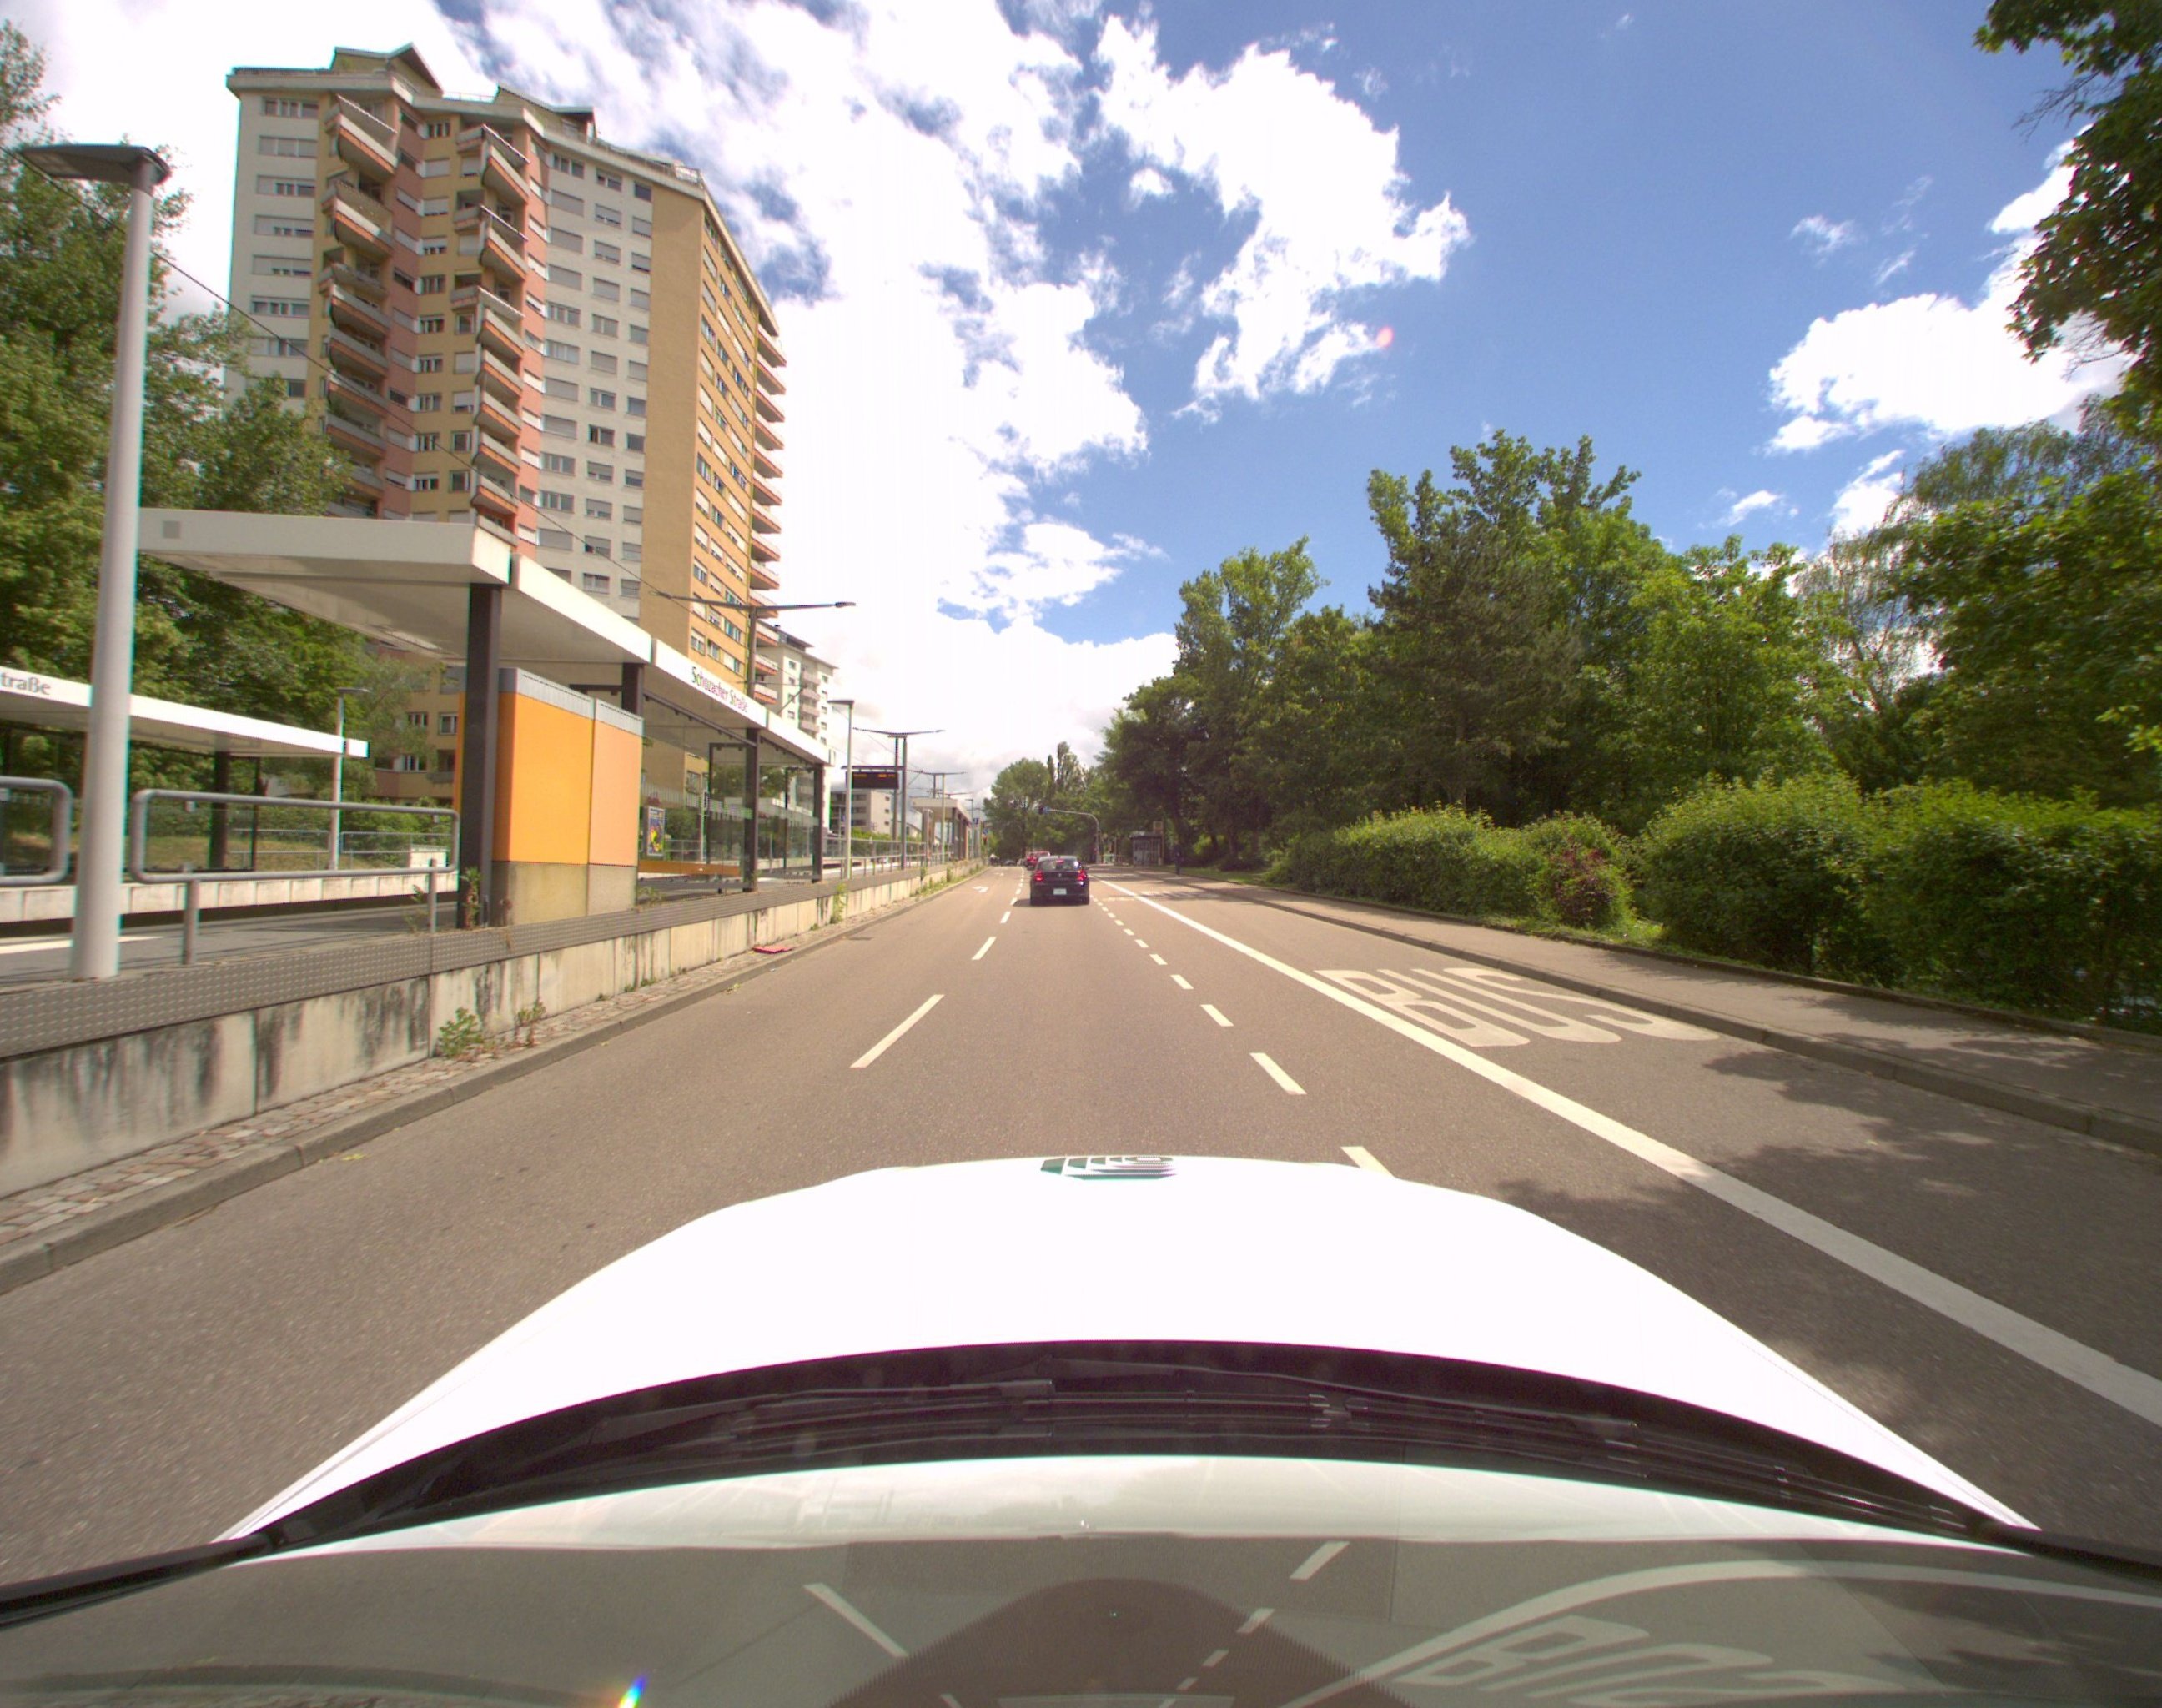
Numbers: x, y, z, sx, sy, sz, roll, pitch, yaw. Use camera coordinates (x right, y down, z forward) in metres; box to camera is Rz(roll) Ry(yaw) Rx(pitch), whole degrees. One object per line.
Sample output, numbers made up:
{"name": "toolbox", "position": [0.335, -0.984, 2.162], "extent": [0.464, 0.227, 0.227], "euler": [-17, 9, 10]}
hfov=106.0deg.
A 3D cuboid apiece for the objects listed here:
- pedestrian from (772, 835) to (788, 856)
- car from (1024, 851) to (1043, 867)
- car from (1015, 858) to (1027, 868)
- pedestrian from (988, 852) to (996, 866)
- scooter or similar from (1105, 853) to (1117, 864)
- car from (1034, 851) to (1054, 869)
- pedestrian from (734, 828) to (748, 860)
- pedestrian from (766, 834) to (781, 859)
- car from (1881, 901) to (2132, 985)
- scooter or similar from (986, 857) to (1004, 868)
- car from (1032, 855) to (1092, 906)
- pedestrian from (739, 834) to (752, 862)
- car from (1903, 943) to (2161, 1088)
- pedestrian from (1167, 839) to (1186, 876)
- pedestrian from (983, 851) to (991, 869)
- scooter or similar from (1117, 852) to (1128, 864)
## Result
{"name": "pedestrian", "position": [-17.215, -0.485, 46.571], "extent": [0.741, 1.236, 0.517], "euler": [-1, 0, -4]}
{"name": "car", "position": [-4.447, 0.477, 76.380], "extent": [1.652, 1.419, 3.510], "euler": [-1, 0, -6]}
{"name": "car", "position": [-9.511, 1.451, 129.116], "extent": [1.649, 1.419, 3.517], "euler": [1, 0, 0]}
{"name": "pedestrian", "position": [-9.187, 0.520, 84.092], "extent": [0.864, 1.442, 0.797], "euler": [-1, 0, -6]}
{"name": "scooter or similar", "position": [3.284, 0.494, 89.563], "extent": [1.292, 1.189, 0.382], "euler": [-1, 0, -20]}
{"name": "car", "position": [-3.054, 0.512, 66.381], "extent": [1.591, 1.419, 3.512], "euler": [-1, 0, -3]}
{"name": "pedestrian", "position": [-17.226, -0.504, 41.224], "extent": [0.524, 1.644, 0.558], "euler": [-1, 0, -36]}
{"name": "pedestrian", "position": [-17.265, -0.401, 45.741], "extent": [0.642, 1.369, 0.506], "euler": [-1, 0, -4]}
{"name": "car", "position": [22.657, 2.108, 20.221], "extent": [1.817, 1.618, 4.003], "euler": [0, 0, 3]}
{"name": "scooter or similar", "position": [-8.800, 0.883, 83.631], "extent": [1.787, 1.050, 0.407], "euler": [-1, 0, -22]}
{"name": "car", "position": [-0.593, 0.744, 24.470], "extent": [1.650, 1.419, 3.514], "euler": [-1, 0, -2]}
{"name": "pedestrian", "position": [-17.271, -0.302, 41.972], "extent": [0.542, 1.380, 0.519], "euler": [-1, -3, -13]}
{"name": "car", "position": [12.657, 1.942, 10.132], "extent": [3.244, 1.490, 1.574], "euler": [0, 0, 2]}
{"name": "pedestrian", "position": [5.120, 0.185, 43.599], "extent": [0.799, 1.895, 1.269], "euler": [1, 0, -3]}
{"name": "pedestrian", "position": [-8.810, 0.591, 76.030], "extent": [0.700, 1.632, 0.637], "euler": [-1, 0, -5]}
{"name": "scooter or similar", "position": [4.584, 0.470, 90.419], "extent": [1.109, 1.258, 0.330], "euler": [-1, 0, -16]}
